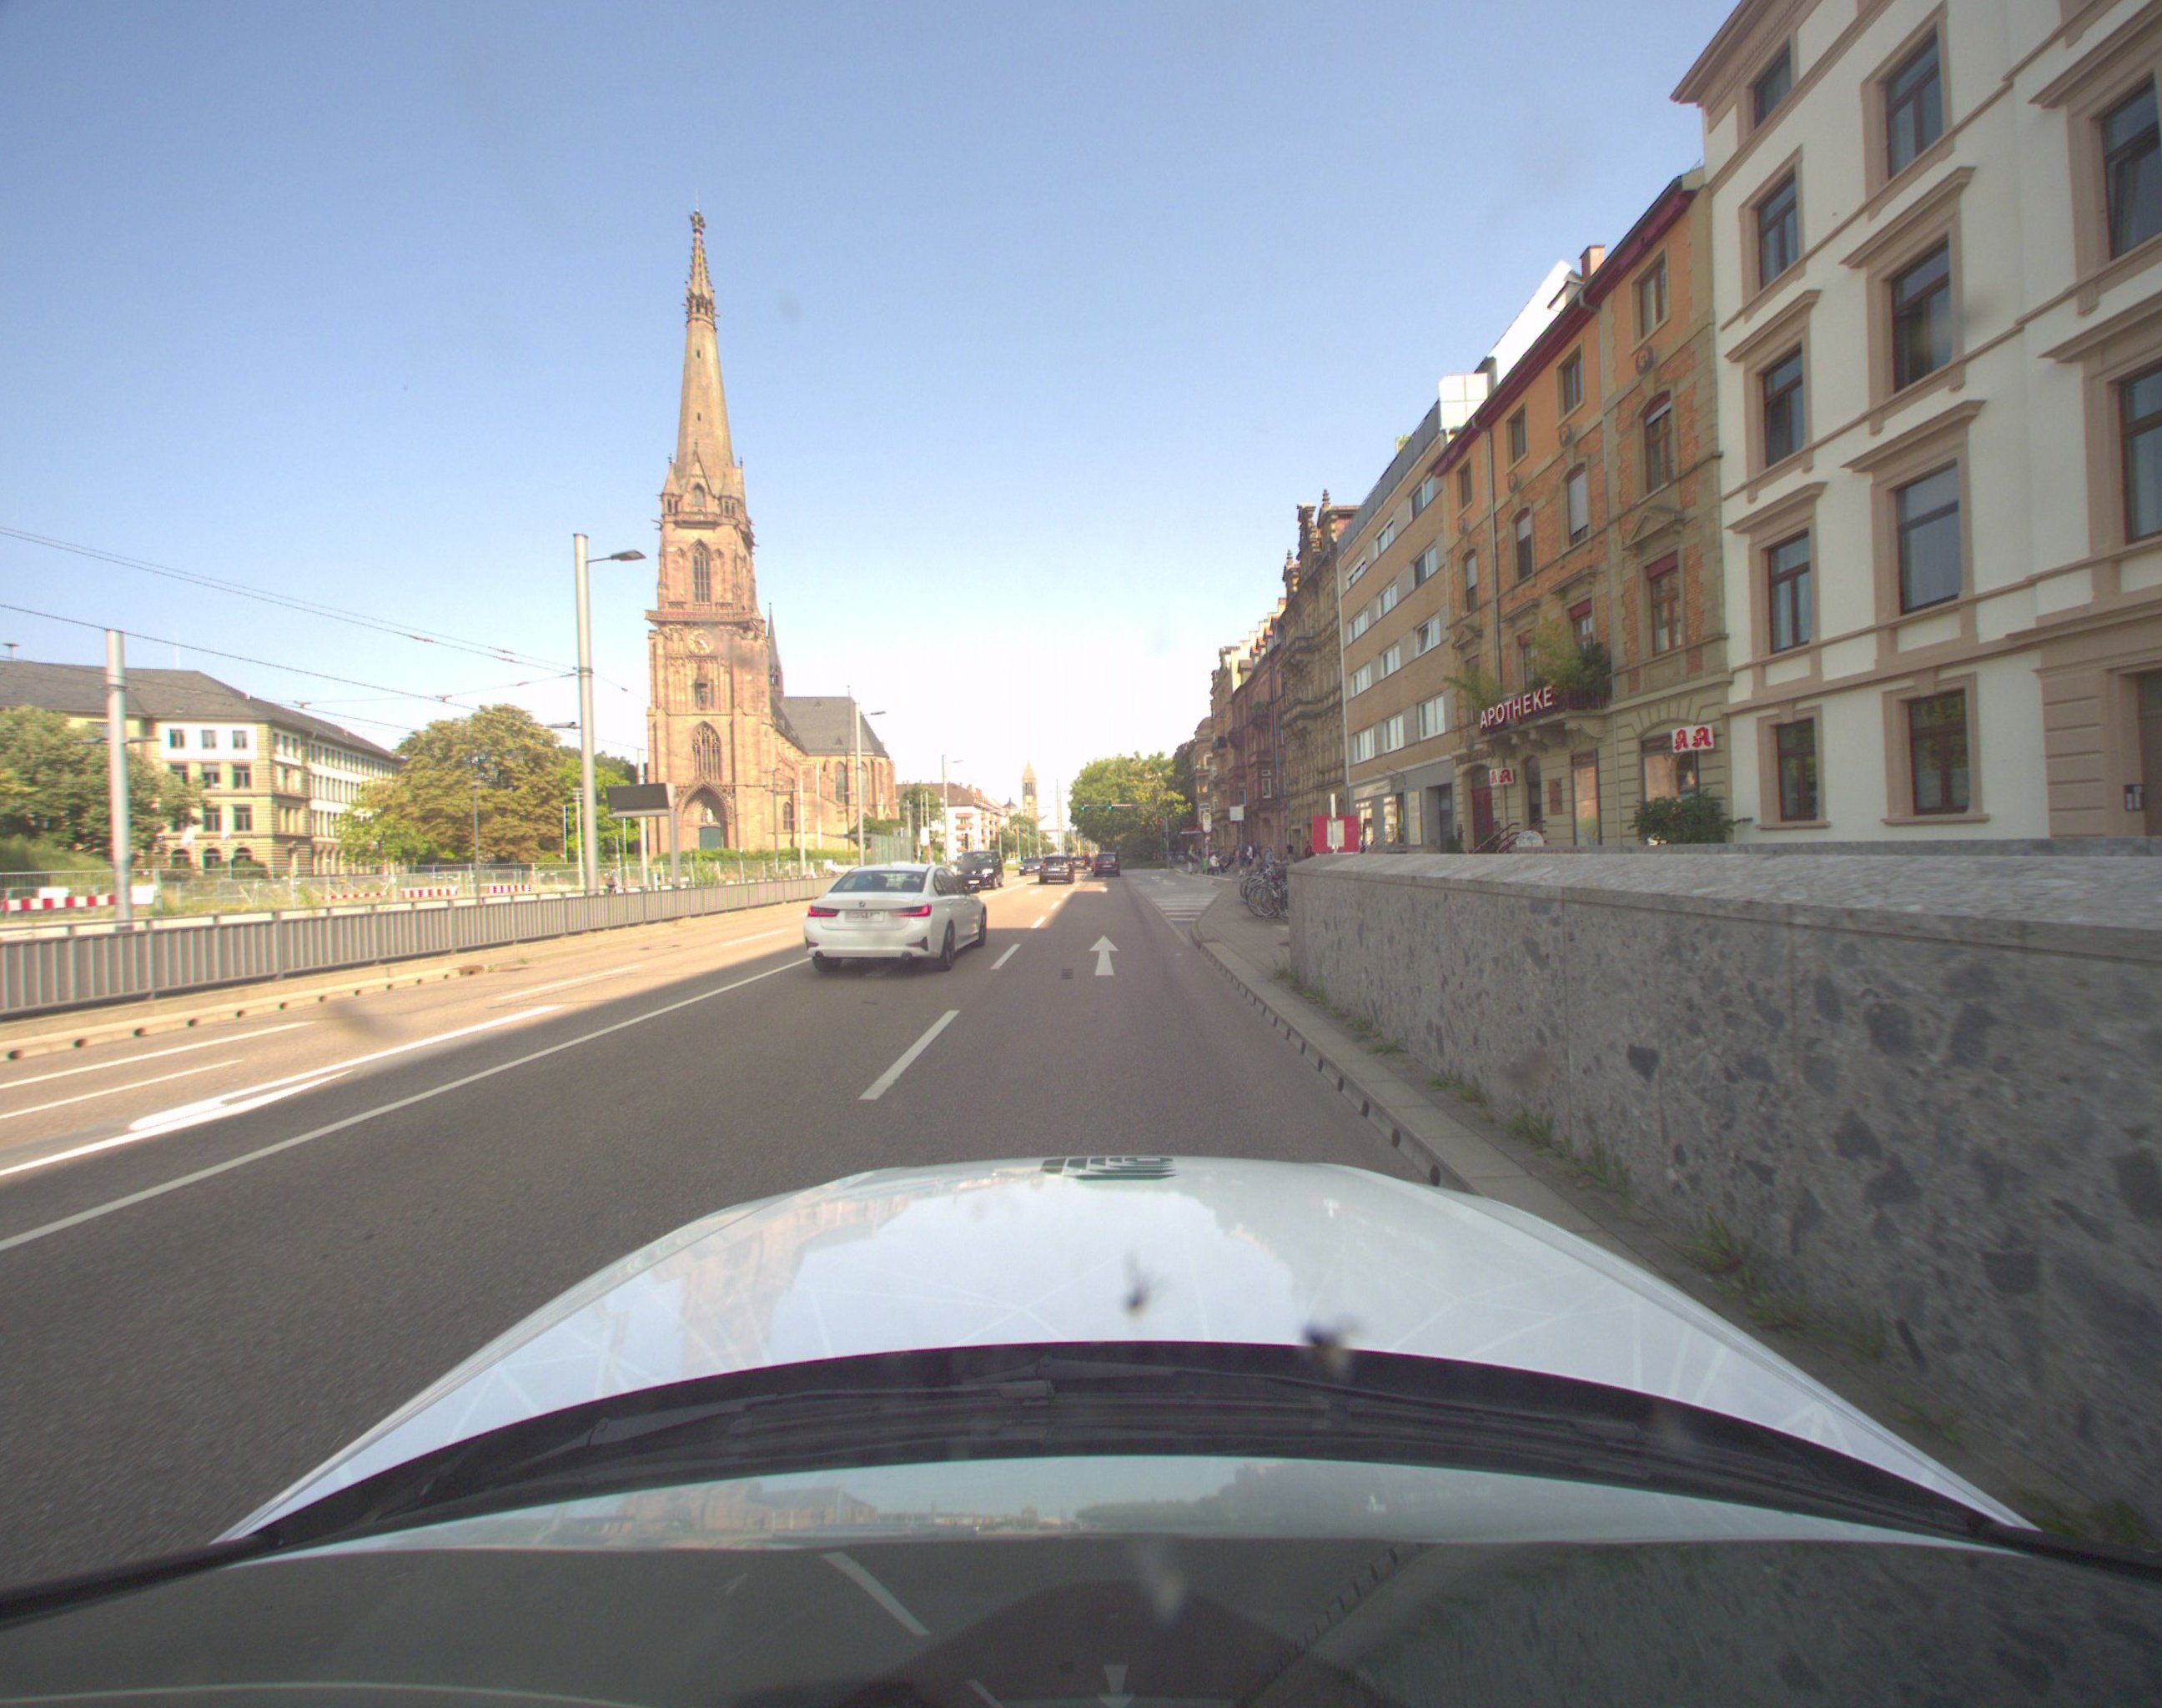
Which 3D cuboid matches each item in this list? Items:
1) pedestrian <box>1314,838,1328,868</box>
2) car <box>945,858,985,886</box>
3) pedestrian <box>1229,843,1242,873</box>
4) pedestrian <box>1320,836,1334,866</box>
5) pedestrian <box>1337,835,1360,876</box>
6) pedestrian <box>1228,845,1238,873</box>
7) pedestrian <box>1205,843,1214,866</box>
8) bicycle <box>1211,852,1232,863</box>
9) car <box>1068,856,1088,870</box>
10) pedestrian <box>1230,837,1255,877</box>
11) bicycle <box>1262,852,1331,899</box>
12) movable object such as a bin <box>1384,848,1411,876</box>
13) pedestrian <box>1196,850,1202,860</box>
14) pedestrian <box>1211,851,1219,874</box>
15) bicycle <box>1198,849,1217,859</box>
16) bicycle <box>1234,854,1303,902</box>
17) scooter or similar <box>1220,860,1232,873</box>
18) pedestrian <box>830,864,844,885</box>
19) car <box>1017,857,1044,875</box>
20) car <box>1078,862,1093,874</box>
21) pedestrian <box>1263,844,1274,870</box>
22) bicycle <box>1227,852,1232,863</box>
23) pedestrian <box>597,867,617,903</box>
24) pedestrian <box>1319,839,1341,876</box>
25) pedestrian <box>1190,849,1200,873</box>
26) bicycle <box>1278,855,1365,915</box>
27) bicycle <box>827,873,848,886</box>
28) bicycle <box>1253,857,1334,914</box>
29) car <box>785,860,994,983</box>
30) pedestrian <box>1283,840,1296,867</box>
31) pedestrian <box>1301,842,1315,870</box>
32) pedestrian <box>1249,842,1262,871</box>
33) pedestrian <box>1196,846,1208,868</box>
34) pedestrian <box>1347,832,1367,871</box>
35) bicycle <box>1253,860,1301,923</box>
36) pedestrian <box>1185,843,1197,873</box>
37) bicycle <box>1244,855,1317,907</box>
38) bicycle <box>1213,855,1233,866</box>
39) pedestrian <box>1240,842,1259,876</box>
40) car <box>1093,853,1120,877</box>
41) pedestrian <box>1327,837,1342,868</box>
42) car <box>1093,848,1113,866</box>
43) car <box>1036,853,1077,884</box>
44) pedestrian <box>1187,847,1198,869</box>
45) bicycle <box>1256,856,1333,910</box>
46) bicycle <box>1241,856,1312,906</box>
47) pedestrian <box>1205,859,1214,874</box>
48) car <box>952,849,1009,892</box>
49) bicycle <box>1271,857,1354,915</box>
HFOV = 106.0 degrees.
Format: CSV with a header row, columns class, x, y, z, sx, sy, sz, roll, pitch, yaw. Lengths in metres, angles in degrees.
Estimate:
class,x,y,z,sx,sy,sz,roll,pitch,yaw
pedestrian,13.845,-0.079,46.966,0.601,1.692,0.587,-2,0,-2
car,-7.439,1.124,52.569,1.707,1.611,4.506,-4,0,2
pedestrian,9.087,0.242,47.928,0.563,1.729,0.617,-2,0,-2
pedestrian,13.964,-0.180,46.236,0.601,1.692,0.587,-2,0,-2
pedestrian,11.981,0.054,36.504,0.717,1.787,0.857,-2,0,3
pedestrian,9.520,0.316,51.027,0.340,1.732,0.805,-2,0,-1
pedestrian,9.749,0.036,61.884,0.480,1.702,0.703,-2,0,-2
bicycle,14.209,0.331,82.411,1.924,1.048,0.499,-2,0,-4
car,-0.251,0.932,84.648,1.857,1.424,4.359,-1,0,2
pedestrian,7.646,0.156,38.633,0.923,1.831,0.800,-2,0,-2
bicycle,5.633,0.554,21.366,1.626,1.148,0.602,-2,0,3
movable object such as a bin,12.934,0.326,33.308,0.738,1.080,0.666,-2,0,-15
pedestrian,15.207,0.080,105.142,0.595,1.248,0.507,-2,0,1
pedestrian,7.404,0.464,44.890,0.275,1.274,0.447,-2,0,-5
bicycle,13.619,0.021,88.016,1.924,1.048,0.526,-2,0,-4
bicycle,4.793,0.617,20.804,1.629,1.148,0.385,-2,0,-4
scooter or similar,8.518,0.756,47.900,0.563,0.741,0.514,-2,0,-2
pedestrian,-20.681,1.747,68.950,0.909,1.679,0.605,-2,0,20
car,-4.031,0.932,65.785,1.707,1.331,4.522,-4,0,2
car,0.608,1.763,105.148,1.857,1.424,4.359,-1,0,2
pedestrian,11.670,0.197,50.750,0.484,1.610,0.813,-2,0,3
bicycle,14.736,0.375,80.762,0.414,1.048,1.673,-2,0,7
pedestrian,-22.962,1.504,39.492,0.515,1.700,0.665,-2,0,1
pedestrian,11.164,0.171,36.560,0.717,1.610,0.857,-2,0,3
pedestrian,7.762,0.474,55.353,0.526,1.612,0.703,-2,0,-2
bicycle,4.932,0.629,16.715,1.629,1.148,0.385,-2,0,-4
bicycle,-20.638,2.158,68.943,1.743,0.978,0.482,-2,0,20
bicycle,4.653,0.683,17.857,1.629,1.148,0.385,-2,0,-4
car,-2.588,0.840,12.318,1.801,1.427,4.778,0,0,3
pedestrian,13.456,-0.011,52.642,0.627,1.719,0.691,-2,0,1
pedestrian,13.679,0.108,49.029,0.601,1.654,0.587,-2,0,-2
pedestrian,10.854,0.146,50.665,0.614,1.804,1.072,-2,0,3
pedestrian,7.156,0.183,48.086,0.563,1.277,0.596,-2,0,-2
pedestrian,13.271,-0.102,39.166,0.601,1.831,0.742,-2,0,-2
bicycle,3.862,0.710,16.140,0.406,1.148,1.654,-2,0,-4
pedestrian,6.512,0.235,48.160,0.563,1.729,0.745,-2,0,-2
bicycle,4.781,0.644,19.540,1.629,1.148,0.385,-2,0,-4
bicycle,14.470,0.691,83.179,1.924,1.048,0.499,-2,0,-4
pedestrian,8.700,0.245,42.004,0.747,1.729,0.800,-2,0,-2
car,1.811,0.749,57.909,1.824,1.621,4.359,-1,0,2
pedestrian,14.037,-0.088,45.158,0.601,1.731,0.510,-2,0,-2
car,2.062,0.249,75.608,1.824,1.621,4.359,-1,0,2
car,-1.298,0.776,45.317,1.986,1.621,4.359,-1,0,2
pedestrian,8.578,0.284,62.587,0.688,1.664,0.620,-2,0,2
bicycle,4.873,0.663,18.590,1.629,1.148,0.385,-2,0,-4
bicycle,4.823,0.653,20.123,1.629,1.148,0.385,-2,0,-4
pedestrian,7.282,0.718,46.151,0.302,0.820,0.603,-2,0,-6
car,-4.927,0.773,40.574,1.986,1.904,4.718,-4,0,2
bicycle,4.903,0.664,17.265,1.629,1.148,0.385,-2,0,-4
